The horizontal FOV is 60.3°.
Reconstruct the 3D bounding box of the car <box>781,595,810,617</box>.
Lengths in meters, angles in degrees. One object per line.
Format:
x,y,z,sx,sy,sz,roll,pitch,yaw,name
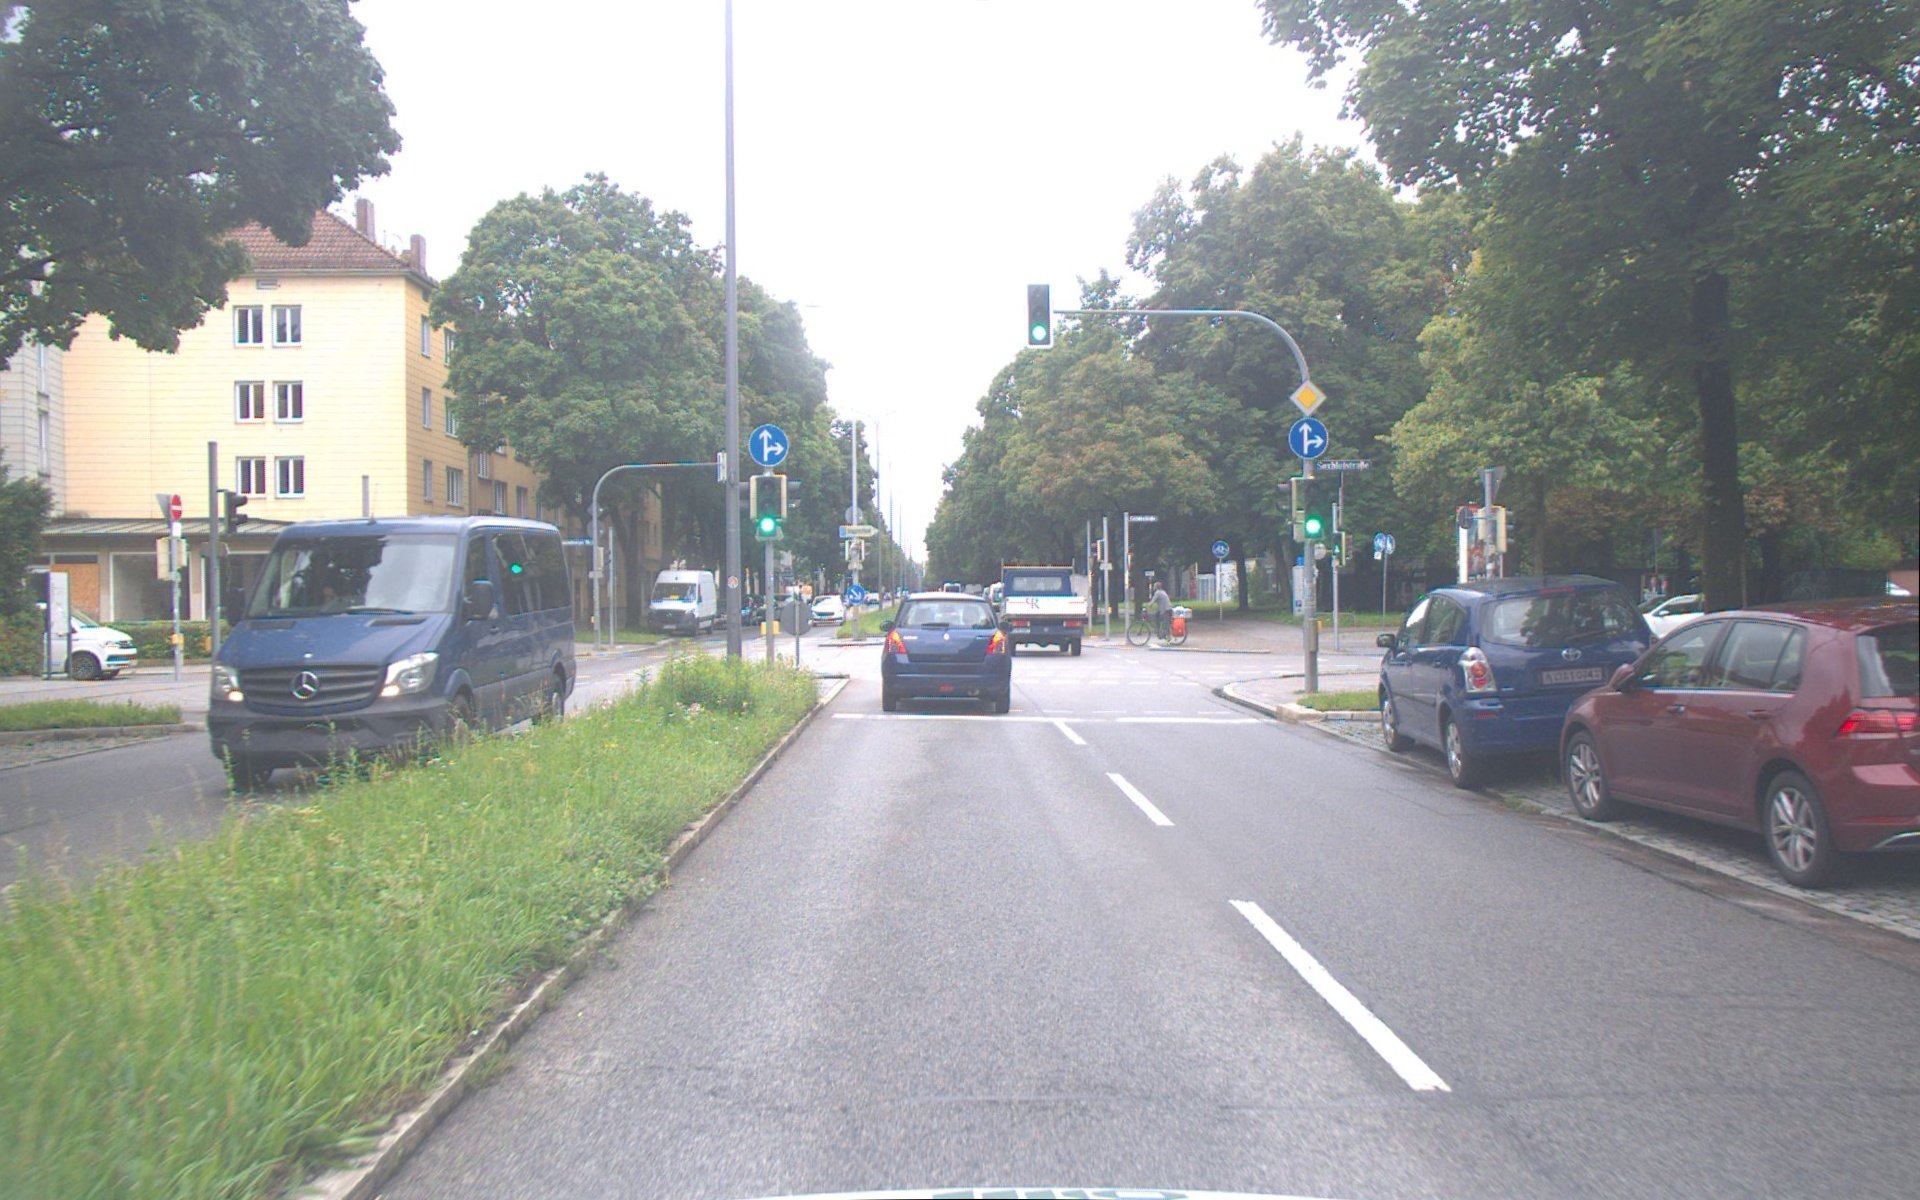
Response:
-11.303,0.412,113.766,1.603,1.467,3.734,-2,0,-1,car

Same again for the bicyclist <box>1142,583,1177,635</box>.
5.841,0.249,48.537,0.911,1.505,0.990,0,0,0,bicyclist

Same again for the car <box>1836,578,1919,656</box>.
23.542,0.307,39.826,3.799,1.638,1.933,-5,0,5,car

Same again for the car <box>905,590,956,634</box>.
-1.086,0.420,59.793,1.763,1.525,3.659,-1,0,-2,car

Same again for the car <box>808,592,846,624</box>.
-6.476,0.390,80.738,1.603,1.467,3.734,-2,0,-1,car

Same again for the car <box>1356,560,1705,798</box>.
4.912,0.580,14.902,1.726,1.686,4.285,-5,1,3,car

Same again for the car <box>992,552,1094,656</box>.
2.040,0.076,42.124,2.369,2.487,5.087,0,0,0,car

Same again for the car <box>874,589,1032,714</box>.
-0.180,0.623,22.094,1.859,1.525,3.657,0,0,-4,car

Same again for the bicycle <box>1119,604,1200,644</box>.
5.852,0.689,48.538,2.250,1.133,0.996,0,0,0,bicycle

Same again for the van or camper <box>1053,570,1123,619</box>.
4.958,-0.214,64.864,2.083,1.825,4.504,0,0,-4,van or camper

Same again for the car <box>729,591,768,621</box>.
-11.244,0.305,88.187,1.603,1.467,3.734,-2,0,-1,car

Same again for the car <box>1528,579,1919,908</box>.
5.182,0.667,10.135,1.678,1.449,4.281,-5,1,-2,car

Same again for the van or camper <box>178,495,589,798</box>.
-5.162,0.335,15.902,1.982,2.300,6.019,-2,0,-2,van or camper

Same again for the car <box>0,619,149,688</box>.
-22.413,1.313,40.946,3.792,1.589,1.669,-1,0,-8,car

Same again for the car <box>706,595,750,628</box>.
-11.121,0.521,79.418,1.603,1.467,3.734,-2,0,-1,car

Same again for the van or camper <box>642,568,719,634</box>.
-11.391,0.013,67.774,2.096,2.519,6.258,-2,0,-1,van or camper
